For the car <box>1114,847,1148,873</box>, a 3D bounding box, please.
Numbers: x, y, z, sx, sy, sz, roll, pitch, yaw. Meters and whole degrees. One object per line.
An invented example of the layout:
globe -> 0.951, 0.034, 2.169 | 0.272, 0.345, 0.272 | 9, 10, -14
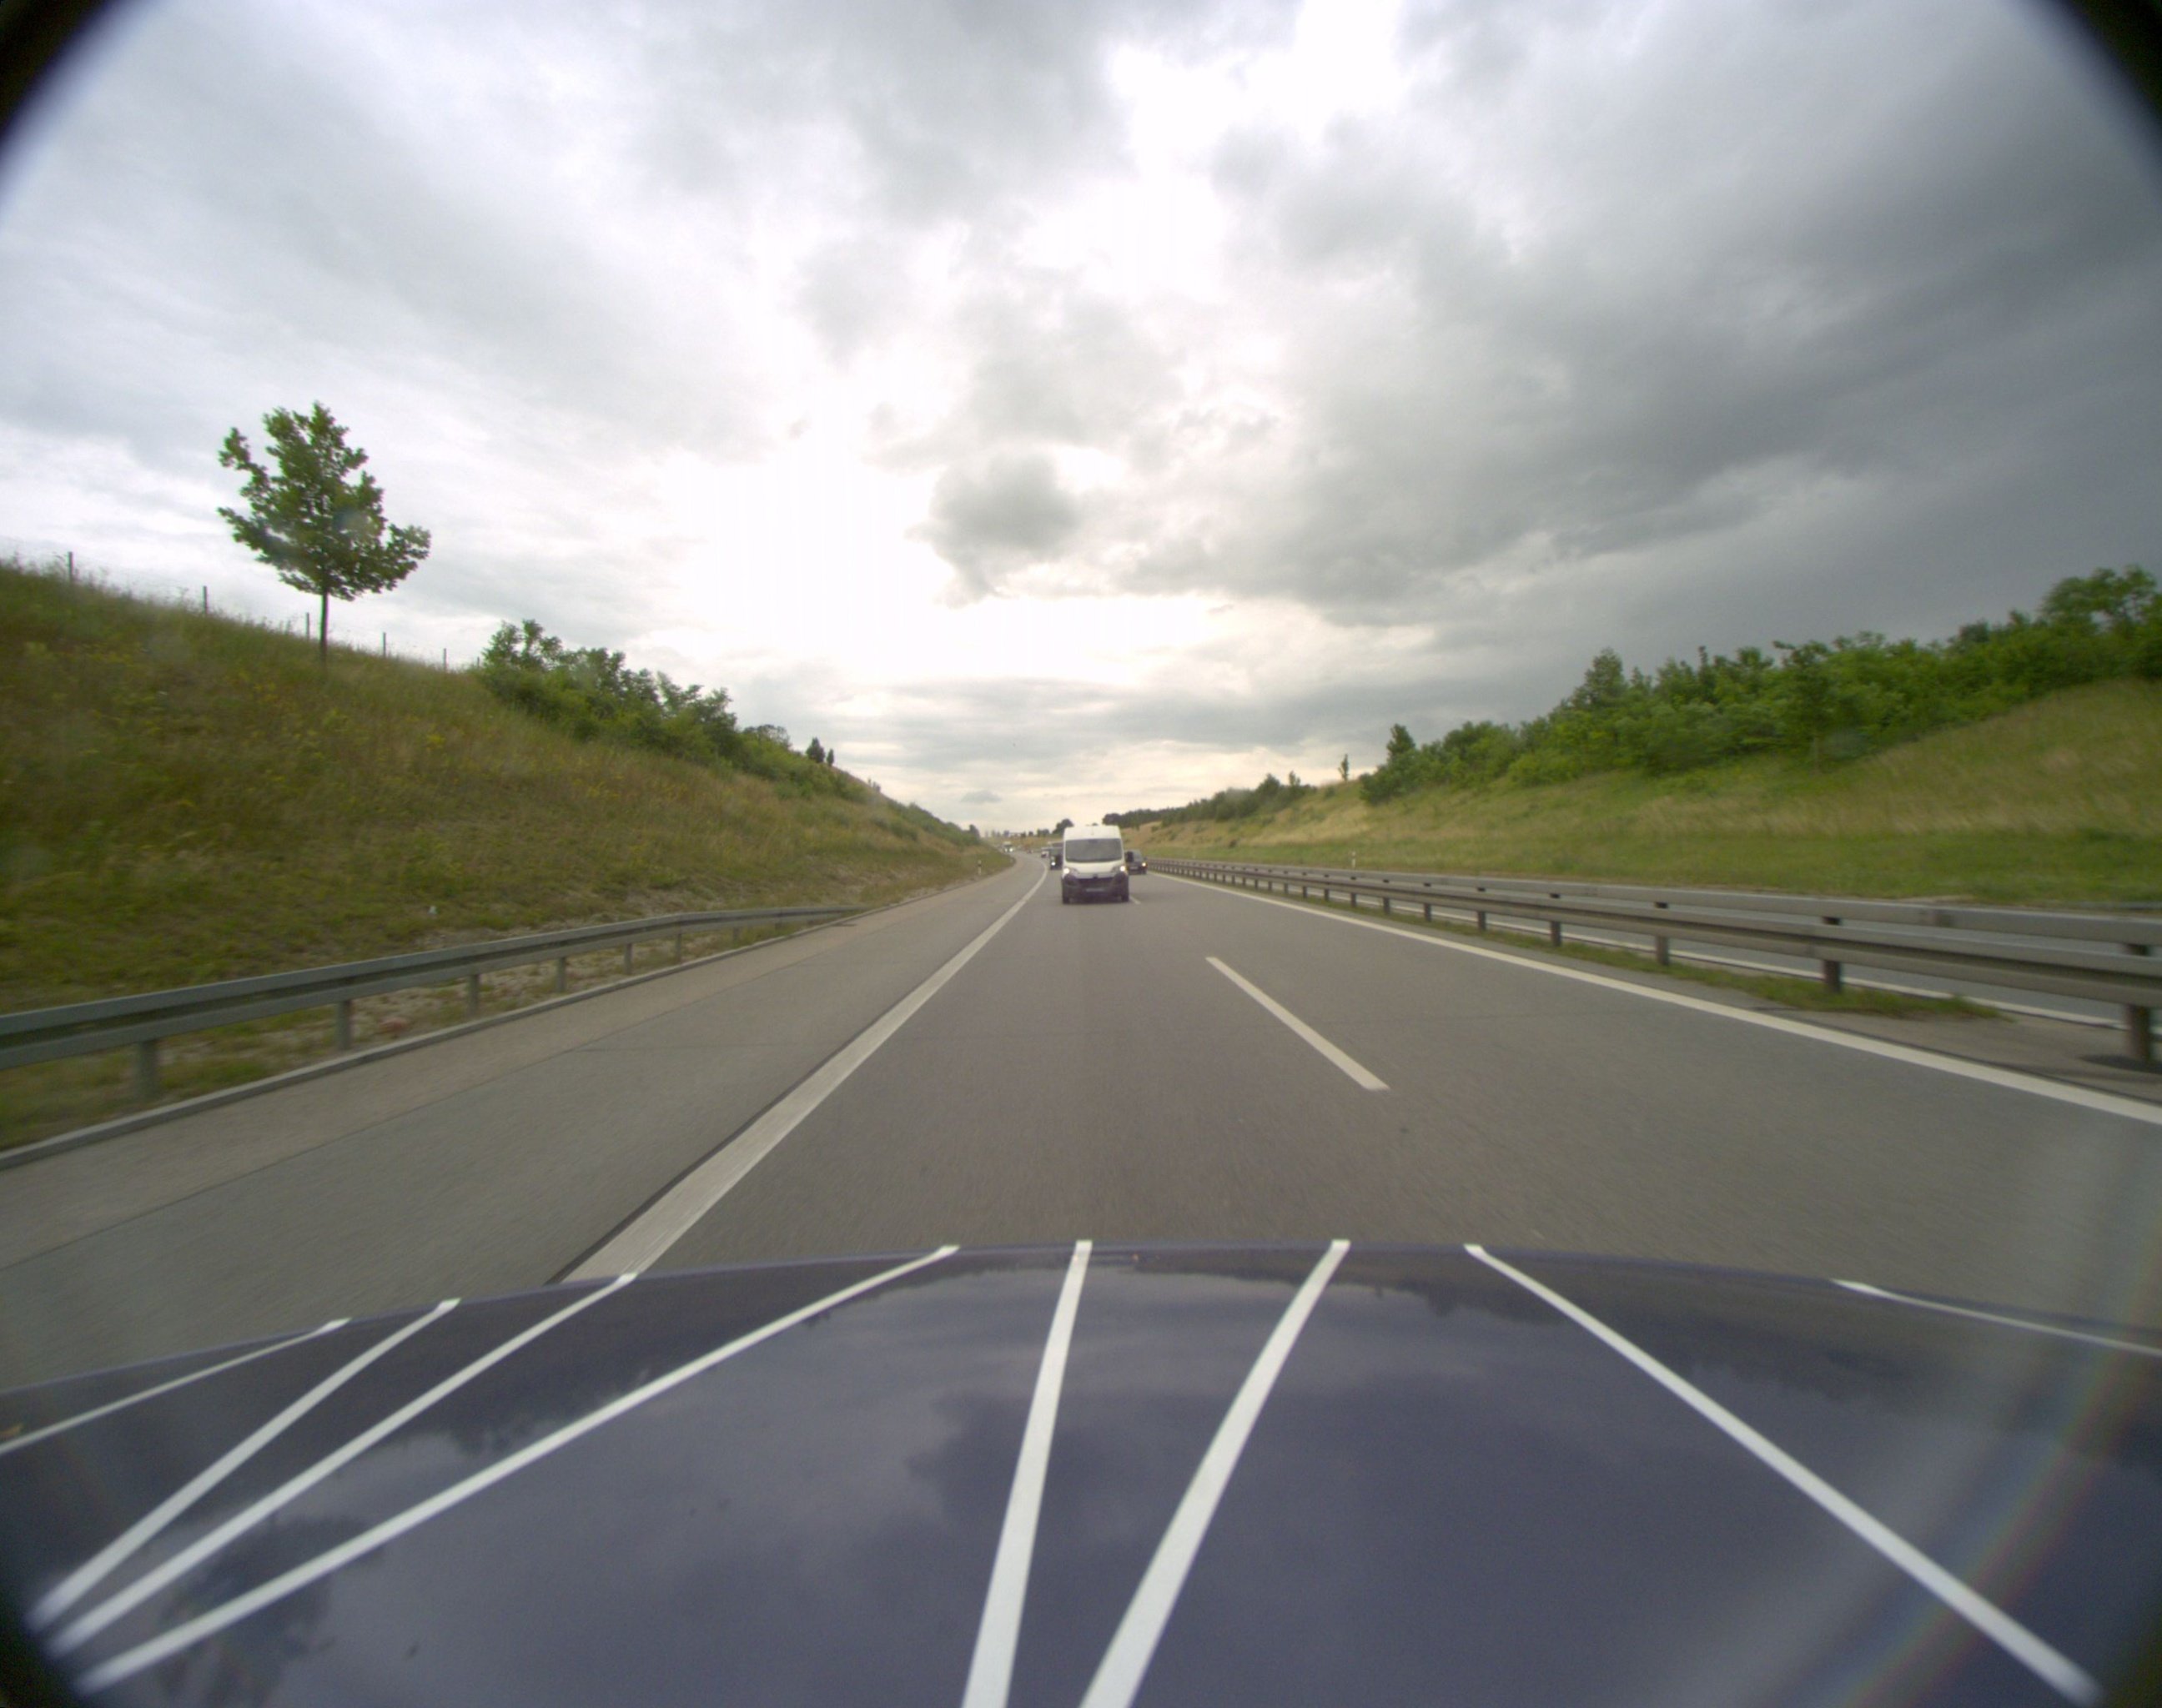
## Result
car -> 3.335, 0.386, 51.607 | 1.901, 1.661, 5.396 | -1, 0, 0

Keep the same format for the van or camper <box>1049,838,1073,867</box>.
van or camper -> -2.035, -0.197, 74.904 | 2.104, 2.722, 6.899 | -2, 1, -3

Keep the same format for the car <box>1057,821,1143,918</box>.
car -> 0.453, 0.331, 22.149 | 2.132, 2.412, 6.110 | -1, 1, -1
